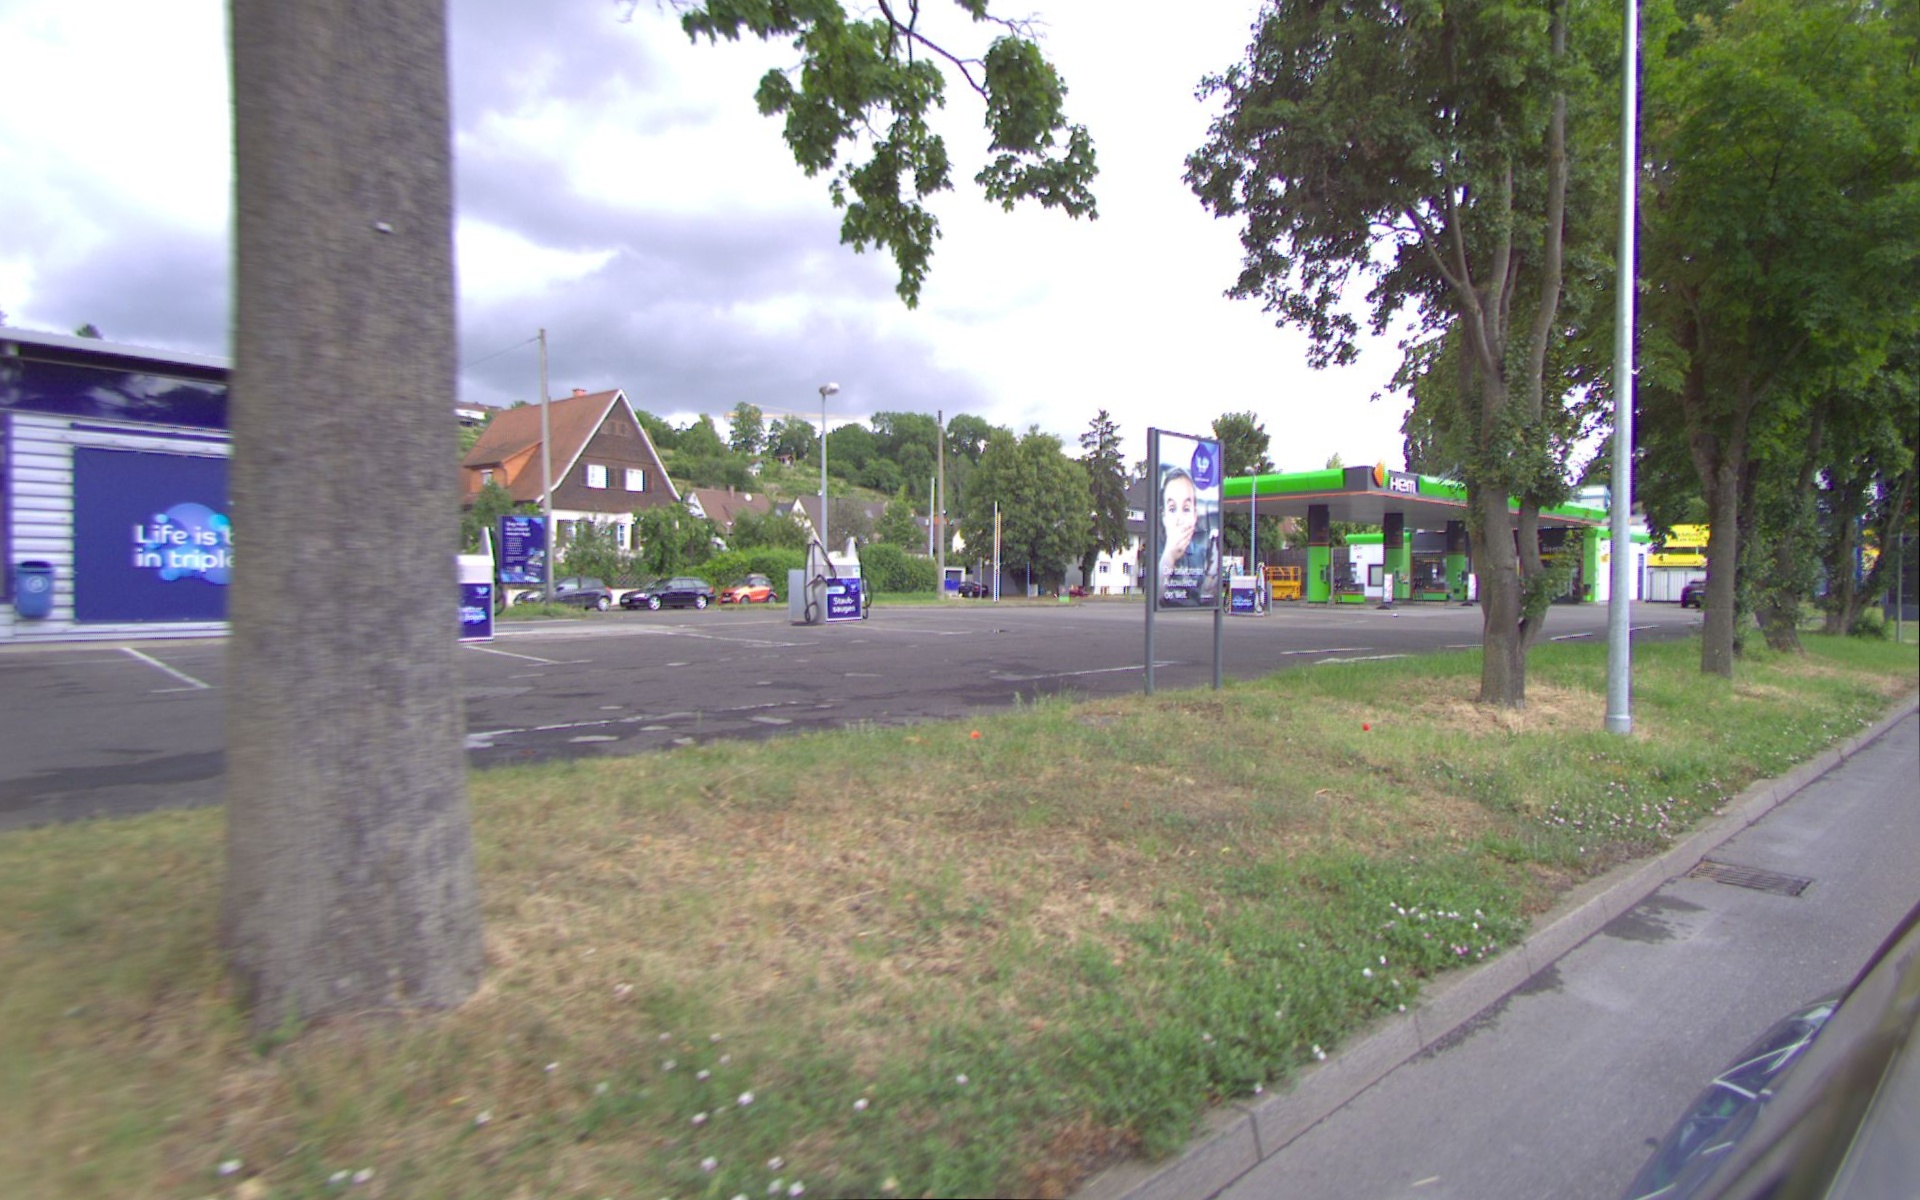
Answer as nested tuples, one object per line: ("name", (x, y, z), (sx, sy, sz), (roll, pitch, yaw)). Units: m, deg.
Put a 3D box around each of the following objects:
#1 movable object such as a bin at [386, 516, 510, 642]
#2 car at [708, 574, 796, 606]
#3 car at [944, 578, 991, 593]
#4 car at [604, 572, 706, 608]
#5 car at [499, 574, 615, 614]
("movable object such as a bin", (-7.971, -0.328, 15.770), (1.159, 1.841, 1.432), (1, 1, 45))
("car", (-10.260, -0.484, 50.078), (1.988, 1.483, 3.947), (-2, -1, 36))
("car", (0.630, -1.229, 86.937), (3.988, 1.234, 1.814), (2, 2, 44))
("car", (-13.539, -0.412, 45.110), (1.988, 1.483, 3.947), (-2, -1, 36))
("car", (-16.337, -0.228, 41.203), (1.988, 1.483, 3.947), (-2, -1, 36))
